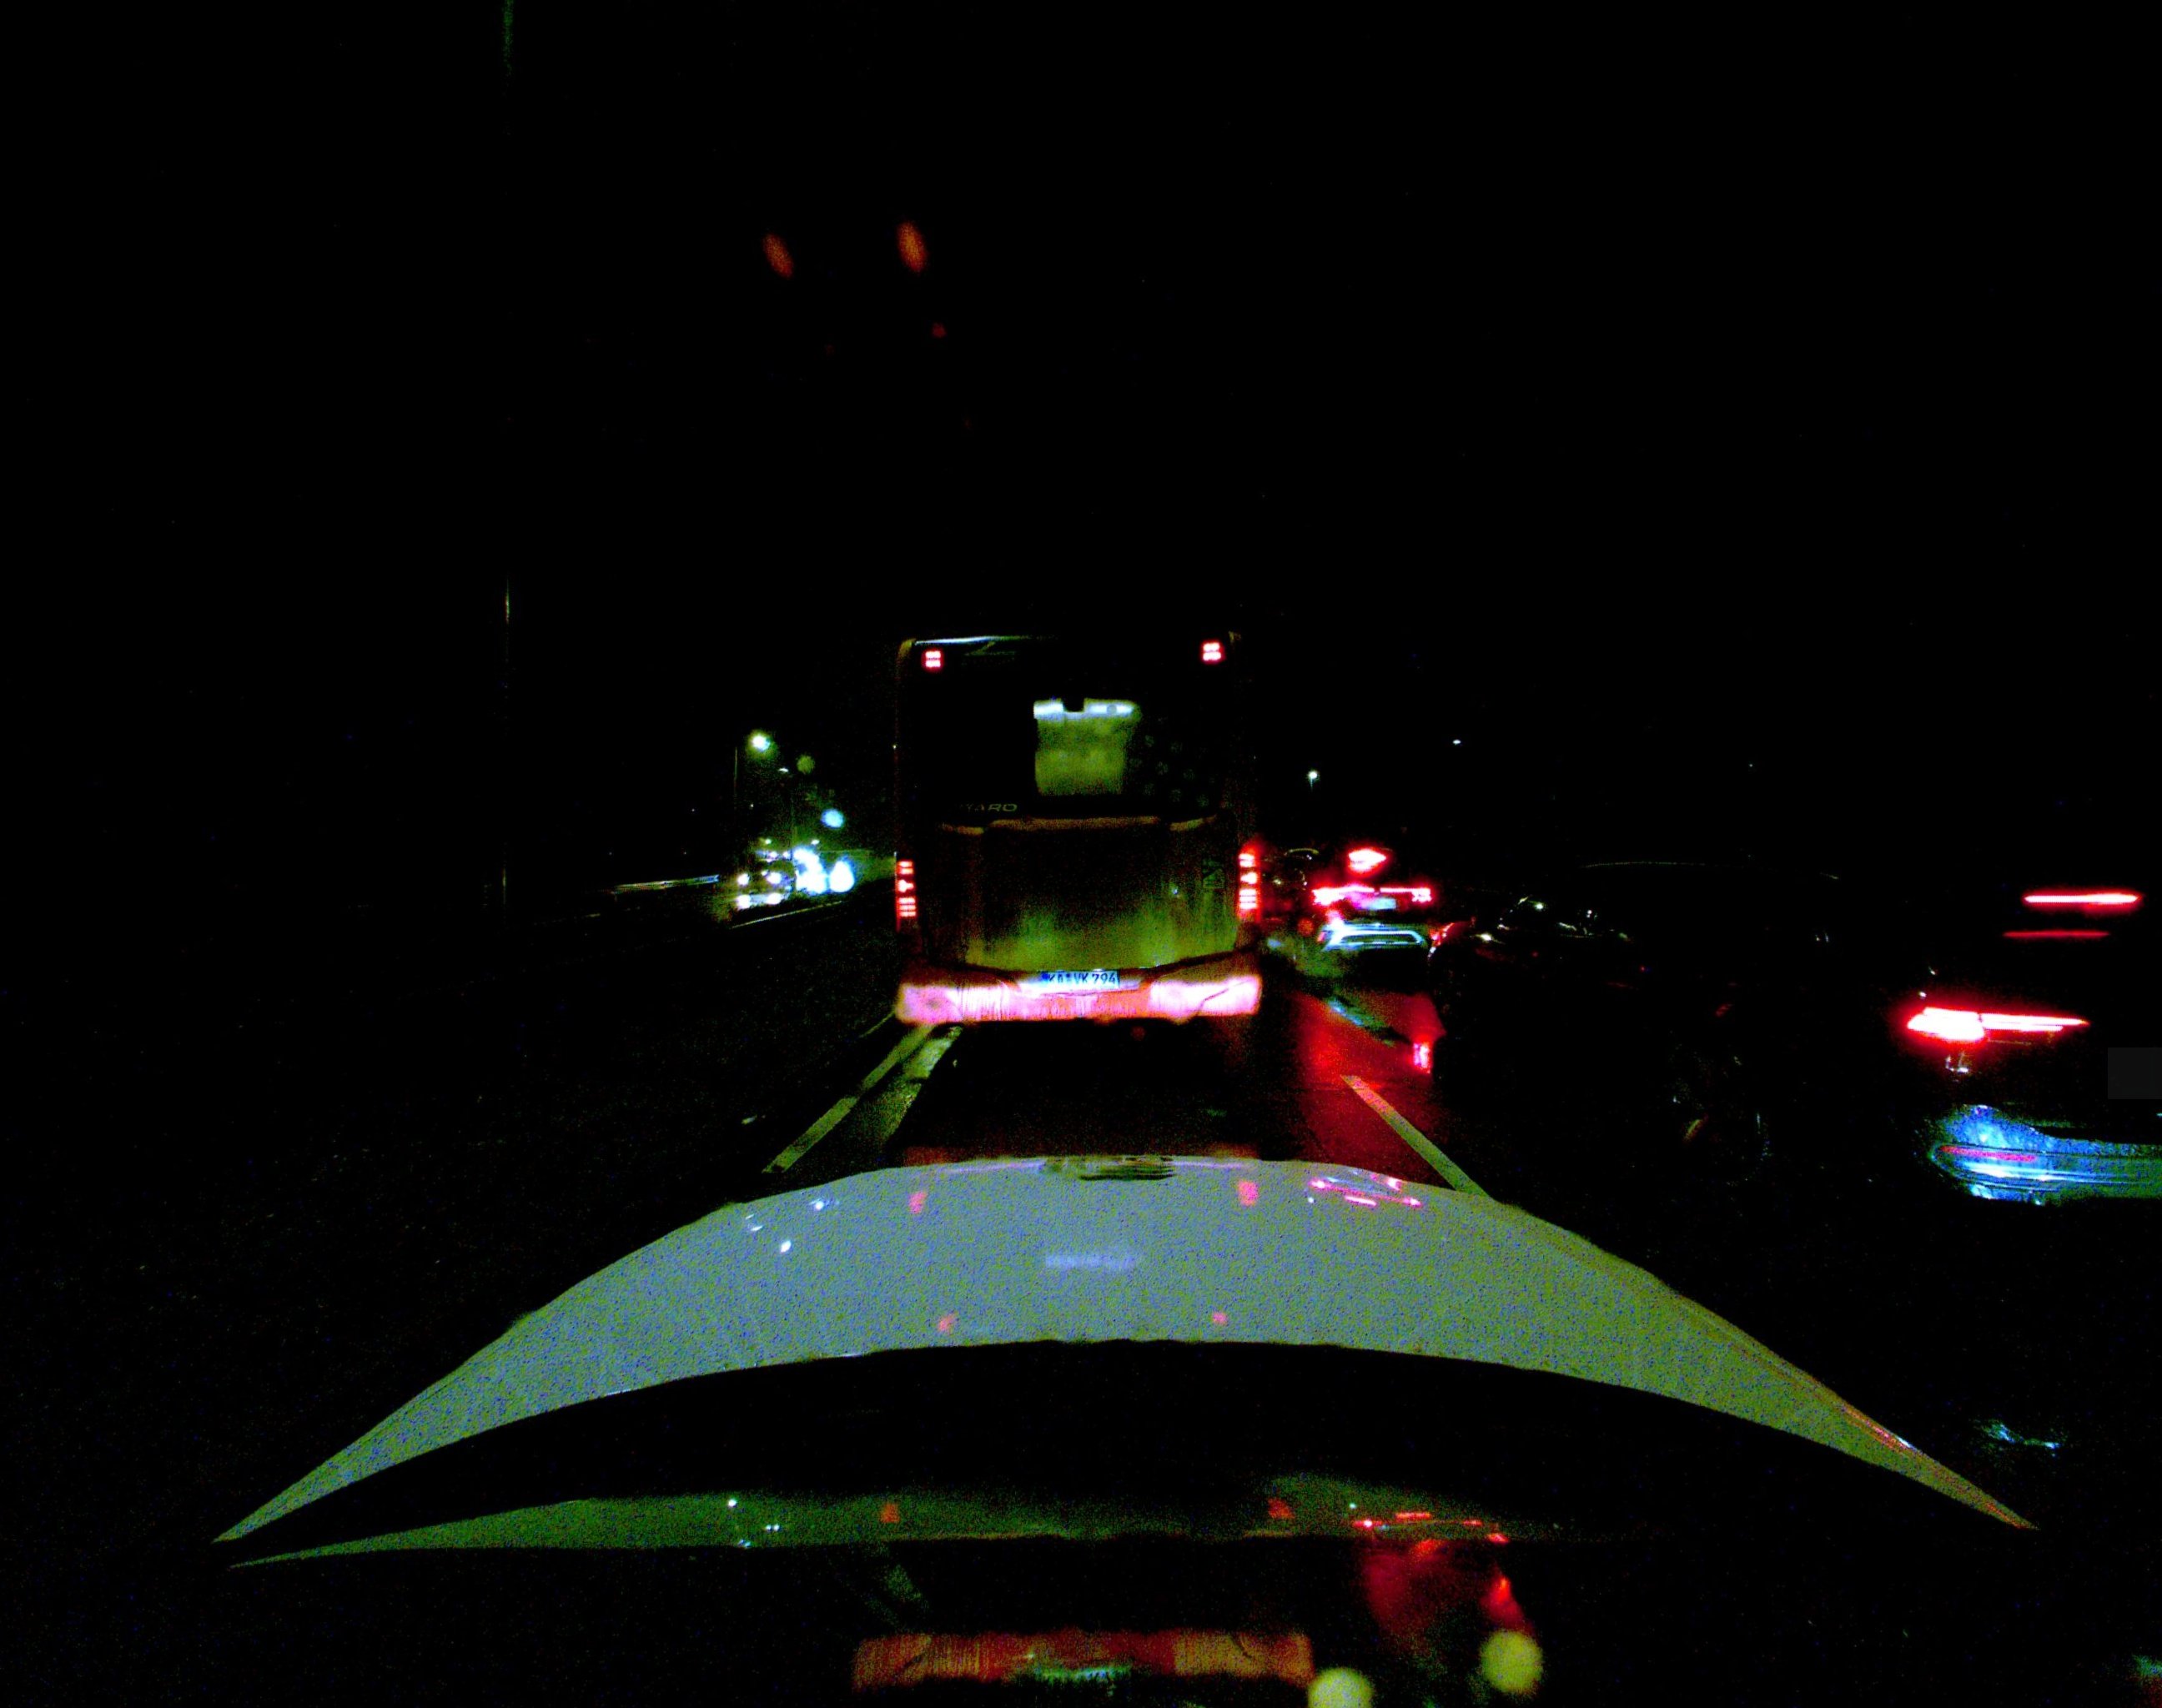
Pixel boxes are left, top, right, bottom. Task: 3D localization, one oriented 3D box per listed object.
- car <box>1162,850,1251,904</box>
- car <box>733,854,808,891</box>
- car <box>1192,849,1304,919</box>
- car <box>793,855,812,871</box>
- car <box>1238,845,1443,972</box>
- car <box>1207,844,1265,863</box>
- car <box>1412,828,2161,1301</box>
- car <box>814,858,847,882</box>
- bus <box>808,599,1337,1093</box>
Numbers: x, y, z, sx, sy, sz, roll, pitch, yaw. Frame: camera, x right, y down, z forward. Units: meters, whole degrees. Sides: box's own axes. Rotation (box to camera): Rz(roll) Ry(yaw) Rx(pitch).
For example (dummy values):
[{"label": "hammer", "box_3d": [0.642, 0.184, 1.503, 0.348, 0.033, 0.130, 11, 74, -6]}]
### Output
[{"label": "car", "box_3d": [3.573, 0.633, 23.911, 1.987, 1.441, 3.999, 0, -1, 0]}, {"label": "car", "box_3d": [-14.123, 0.820, 37.341, 1.991, 1.508, 4.828, -2, 0, -7]}, {"label": "car", "box_3d": [3.564, 0.601, 18.053, 1.680, 1.330, 3.960, -2, 0, 1]}, {"label": "car", "box_3d": [-29.477, 0.947, 86.252, 1.771, 1.631, 4.221, -1, 0, -20]}, {"label": "car", "box_3d": [3.529, 0.674, 11.843, 1.672, 1.521, 3.959, 0, -1, -1]}, {"label": "car", "box_3d": [13.007, -0.082, 68.448, 4.477, 1.519, 1.853, 0, 2, -6]}, {"label": "car", "box_3d": [3.692, 0.707, 4.902, 1.666, 1.506, 4.561, 1, -1, 2]}, {"label": "car", "box_3d": [-16.699, 1.067, 54.423, 1.713, 1.423, 4.646, -2, 0, -13]}, {"label": "bus", "box_3d": [-0.019, -0.159, 9.946, 3.274, 3.050, 9.544, -2, 1, 0]}]
